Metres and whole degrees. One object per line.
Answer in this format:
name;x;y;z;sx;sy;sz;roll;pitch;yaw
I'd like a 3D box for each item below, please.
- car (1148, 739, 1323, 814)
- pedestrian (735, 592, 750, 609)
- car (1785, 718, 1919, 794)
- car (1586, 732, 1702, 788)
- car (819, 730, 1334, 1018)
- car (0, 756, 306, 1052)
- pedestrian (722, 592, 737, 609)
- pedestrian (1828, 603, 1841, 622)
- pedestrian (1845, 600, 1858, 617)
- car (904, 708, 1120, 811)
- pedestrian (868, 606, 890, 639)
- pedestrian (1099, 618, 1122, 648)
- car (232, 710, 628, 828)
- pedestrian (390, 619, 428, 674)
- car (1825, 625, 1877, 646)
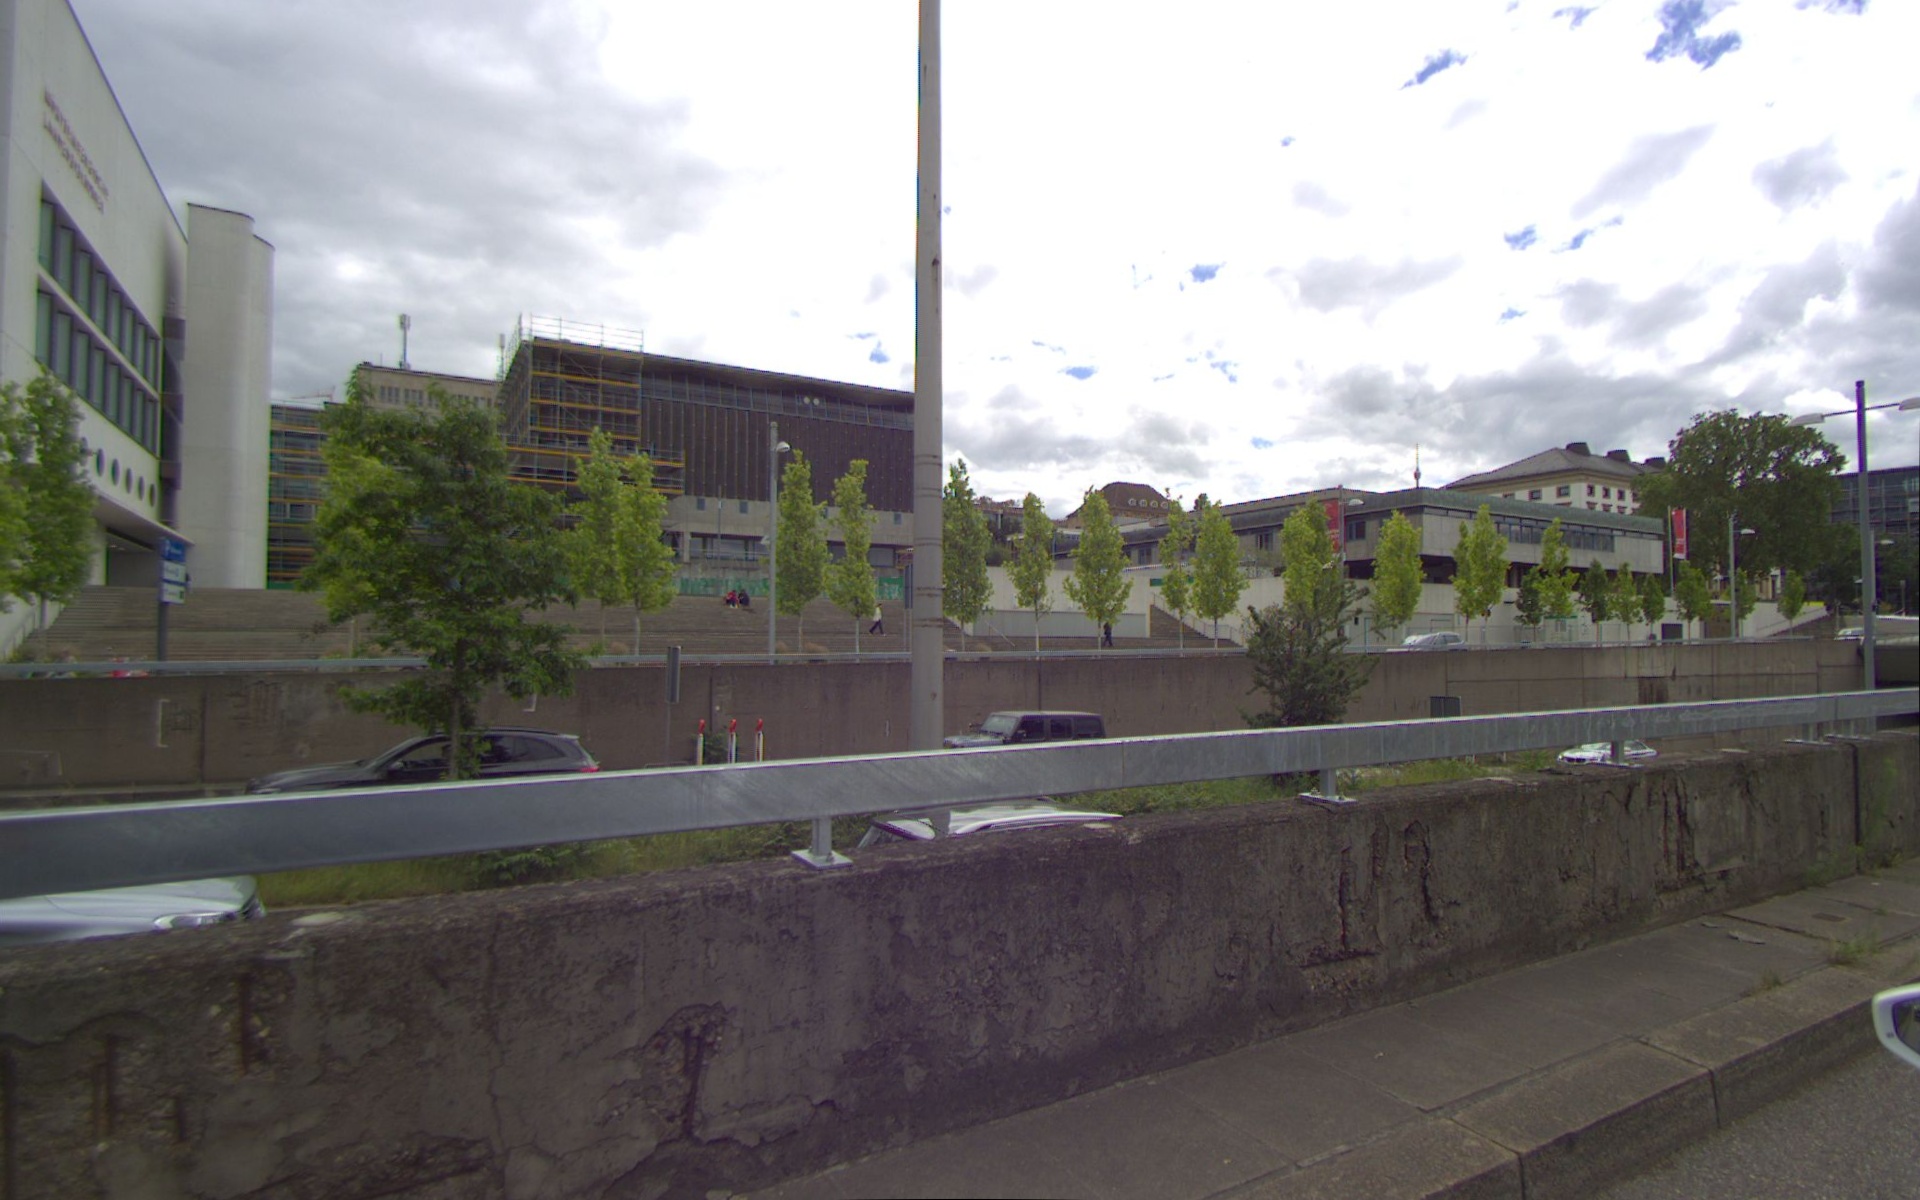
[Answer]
car;6.324;3.979;22.991;3.776;1.289;1.689;3;-1;-30
pedestrian;-11.690;0.049;53.906;0.649;0.883;0.533;2;0;-25
car;22.811;3.821;25.045;4.803;1.479;1.805;2;-1;-29
car;23.832;5.519;34.973;4.166;1.505;1.740;1;-1;-30
car;1.177;2.288;9.428;4.602;1.738;1.885;1;-1;-29
car;-7.441;2.107;6.969;4.682;1.638;1.984;2;-3;-30
pedestrian;-12.312;0.023;53.605;0.649;0.883;0.533;2;0;-25
pedestrian;84.302;1.188;96.782;0.628;1.751;0.695;2;0;8
pedestrian;92.296;0.875;103.986;0.629;1.751;0.694;2;0;-6
car;1.275;3.634;23.527;4.848;1.922;1.808;2;-1;-31
pedestrian;-4.190;1.167;52.070;0.849;1.662;0.638;2;3;-30
pedestrian;8.698;1.899;58.200;0.991;1.662;0.638;2;6;-30
car;-7.544;2.343;14.654;4.797;1.158;1.982;2;-1;-32
pedestrian;-17.071;1.430;31.117;0.993;1.662;0.731;1;-2;-30
car;65.039;2.595;73.318;3.665;1.446;1.800;2;-1;-31
